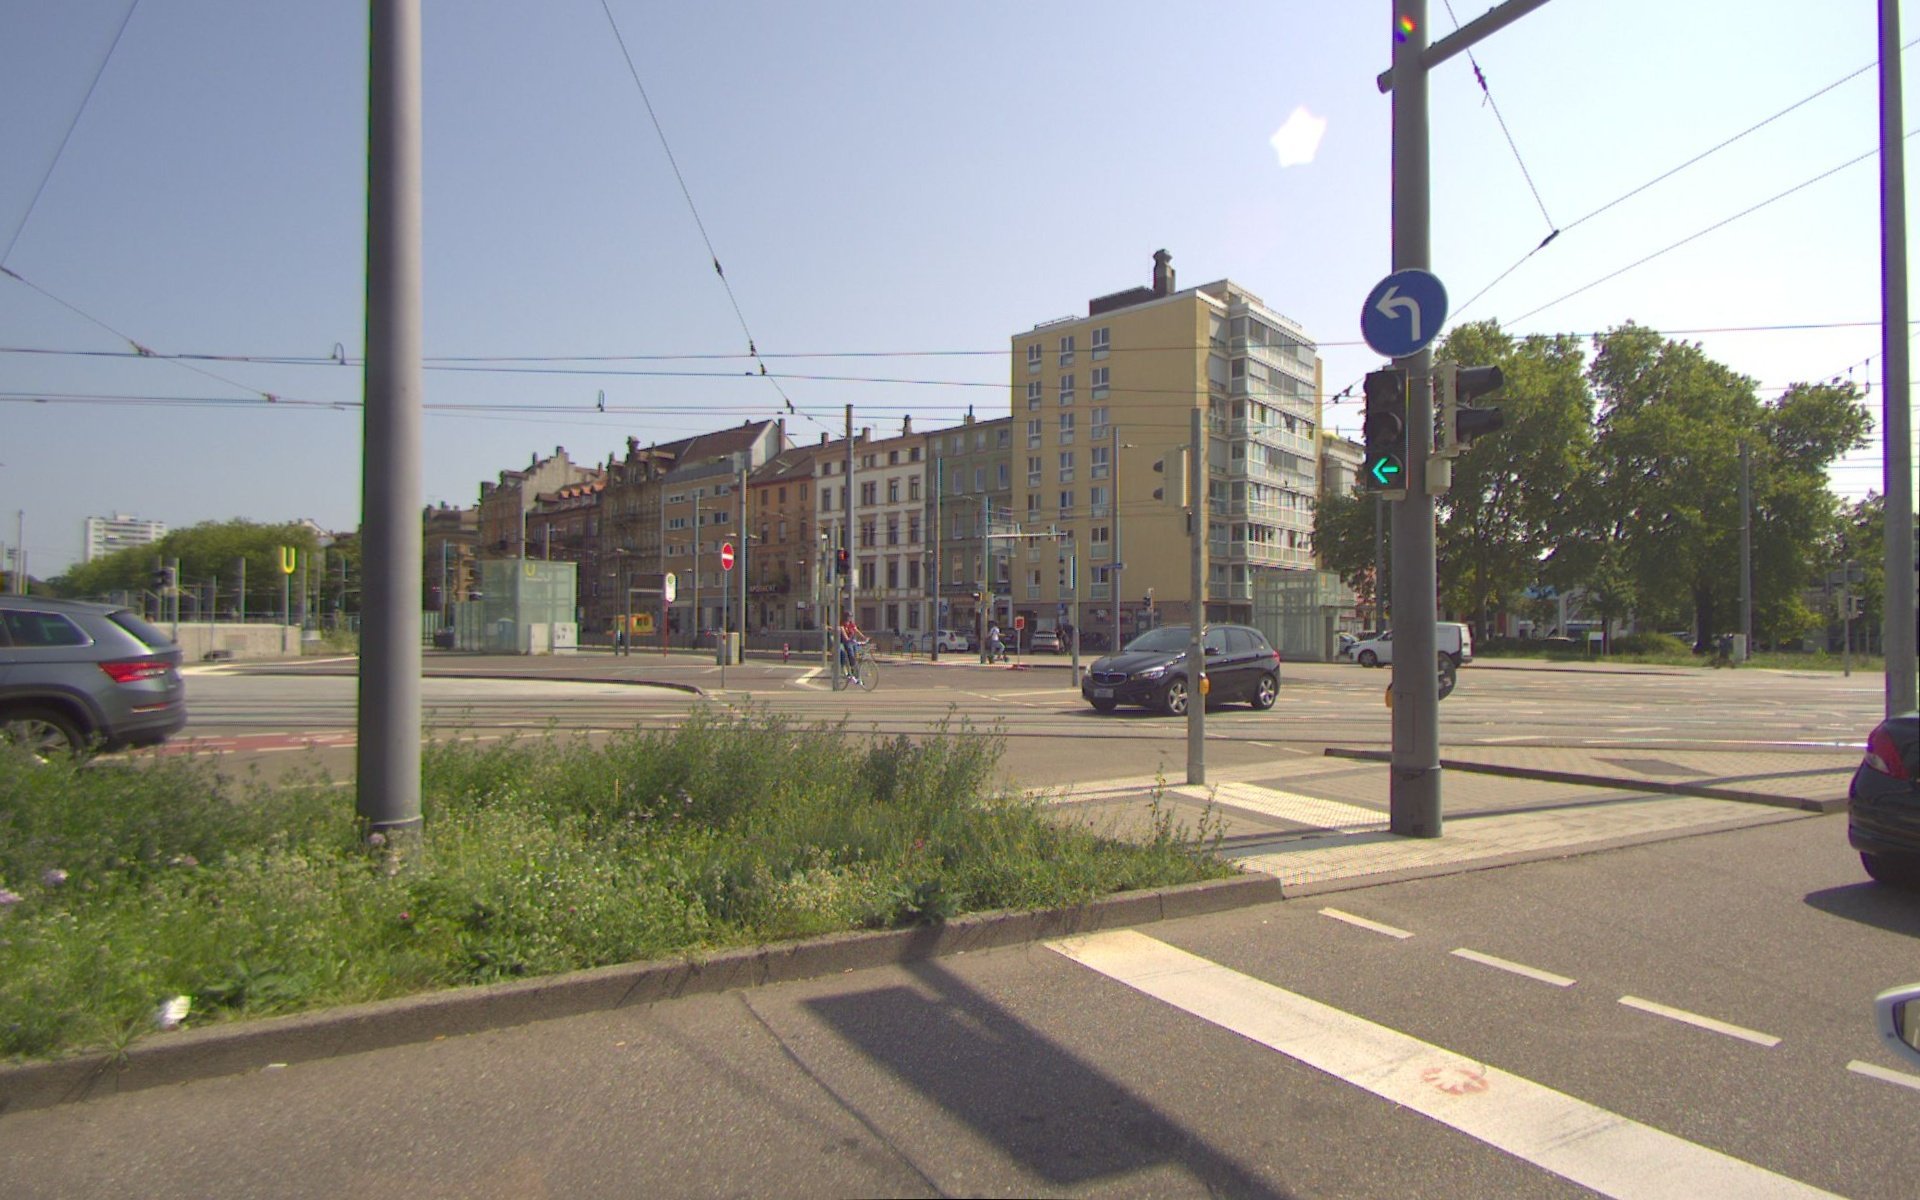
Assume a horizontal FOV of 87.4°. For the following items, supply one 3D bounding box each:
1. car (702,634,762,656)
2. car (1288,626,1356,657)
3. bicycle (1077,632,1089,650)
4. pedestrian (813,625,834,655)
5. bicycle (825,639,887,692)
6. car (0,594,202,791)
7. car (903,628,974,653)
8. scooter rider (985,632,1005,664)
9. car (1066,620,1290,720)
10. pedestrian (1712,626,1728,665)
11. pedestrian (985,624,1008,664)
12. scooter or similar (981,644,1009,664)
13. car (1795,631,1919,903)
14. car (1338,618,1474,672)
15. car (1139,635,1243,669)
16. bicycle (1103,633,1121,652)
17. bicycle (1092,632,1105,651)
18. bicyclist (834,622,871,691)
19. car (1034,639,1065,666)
[{"bbox_3d":[-16.390,3.209,72.069,4.698,1.434,1.767,-1,-2,41],"label":"car"},{"bbox_3d":[24.838,2.817,68.981,3.944,2.040,1.920,-1,-2,43],"label":"car"},{"bbox_3d":[8.358,2.783,68.217,0.680,1.220,2.792,0,-2,4],"label":"bicycle"},{"bbox_3d":[-6.994,2.047,51.591,0.736,1.563,0.850,2,-2,-37],"label":"pedestrian"},{"bbox_3d":[-2.371,1.452,22.658,0.499,1.108,1.917,1,-2,-36],"label":"bicycle"},{"bbox_3d":[-9.193,0.755,8.385,4.500,1.621,1.753,2,-2,-36],"label":"car"},{"bbox_3d":[-1.331,2.424,60.317,4.140,1.434,1.767,-1,-2,41],"label":"car"},{"bbox_3d":[1.511,2.066,43.254,0.602,1.371,0.682,1,-2,-35],"label":"scooter rider"},{"bbox_3d":[3.972,1.181,17.973,4.173,1.581,1.720,2,-2,-39],"label":"car"},{"bbox_3d":[33.624,1.990,44.435,0.546,1.706,0.452,-1,-2,41],"label":"pedestrian"},{"bbox_3d":[1.573,1.871,43.164,0.791,1.699,0.577,1,-2,-34],"label":"pedestrian"},{"bbox_3d":[1.506,2.292,43.098,1.133,0.835,0.517,2,-2,-36],"label":"scooter or similar"},{"bbox_3d":[6.872,0.927,5.748,3.728,1.406,1.761,1,0,-24],"label":"car"},{"bbox_3d":[17.611,1.731,39.758,4.555,2.040,1.991,-1,-2,39],"label":"car"},{"bbox_3d":[11.192,2.497,48.815,4.555,1.524,1.991,-1,-2,39],"label":"car"},{"bbox_3d":[10.105,2.828,66.781,0.892,1.220,3.265,0,-2,4],"label":"bicycle"},{"bbox_3d":[9.300,2.784,67.511,0.680,1.220,3.265,0,-2,4],"label":"bicycle"},{"bbox_3d":[-2.445,1.276,22.832,0.632,1.529,0.553,1,-2,-37],"label":"bicyclist"},{"bbox_3d":[5.387,3.122,60.712,1.712,1.528,4.002,0,-2,3],"label":"car"}]
